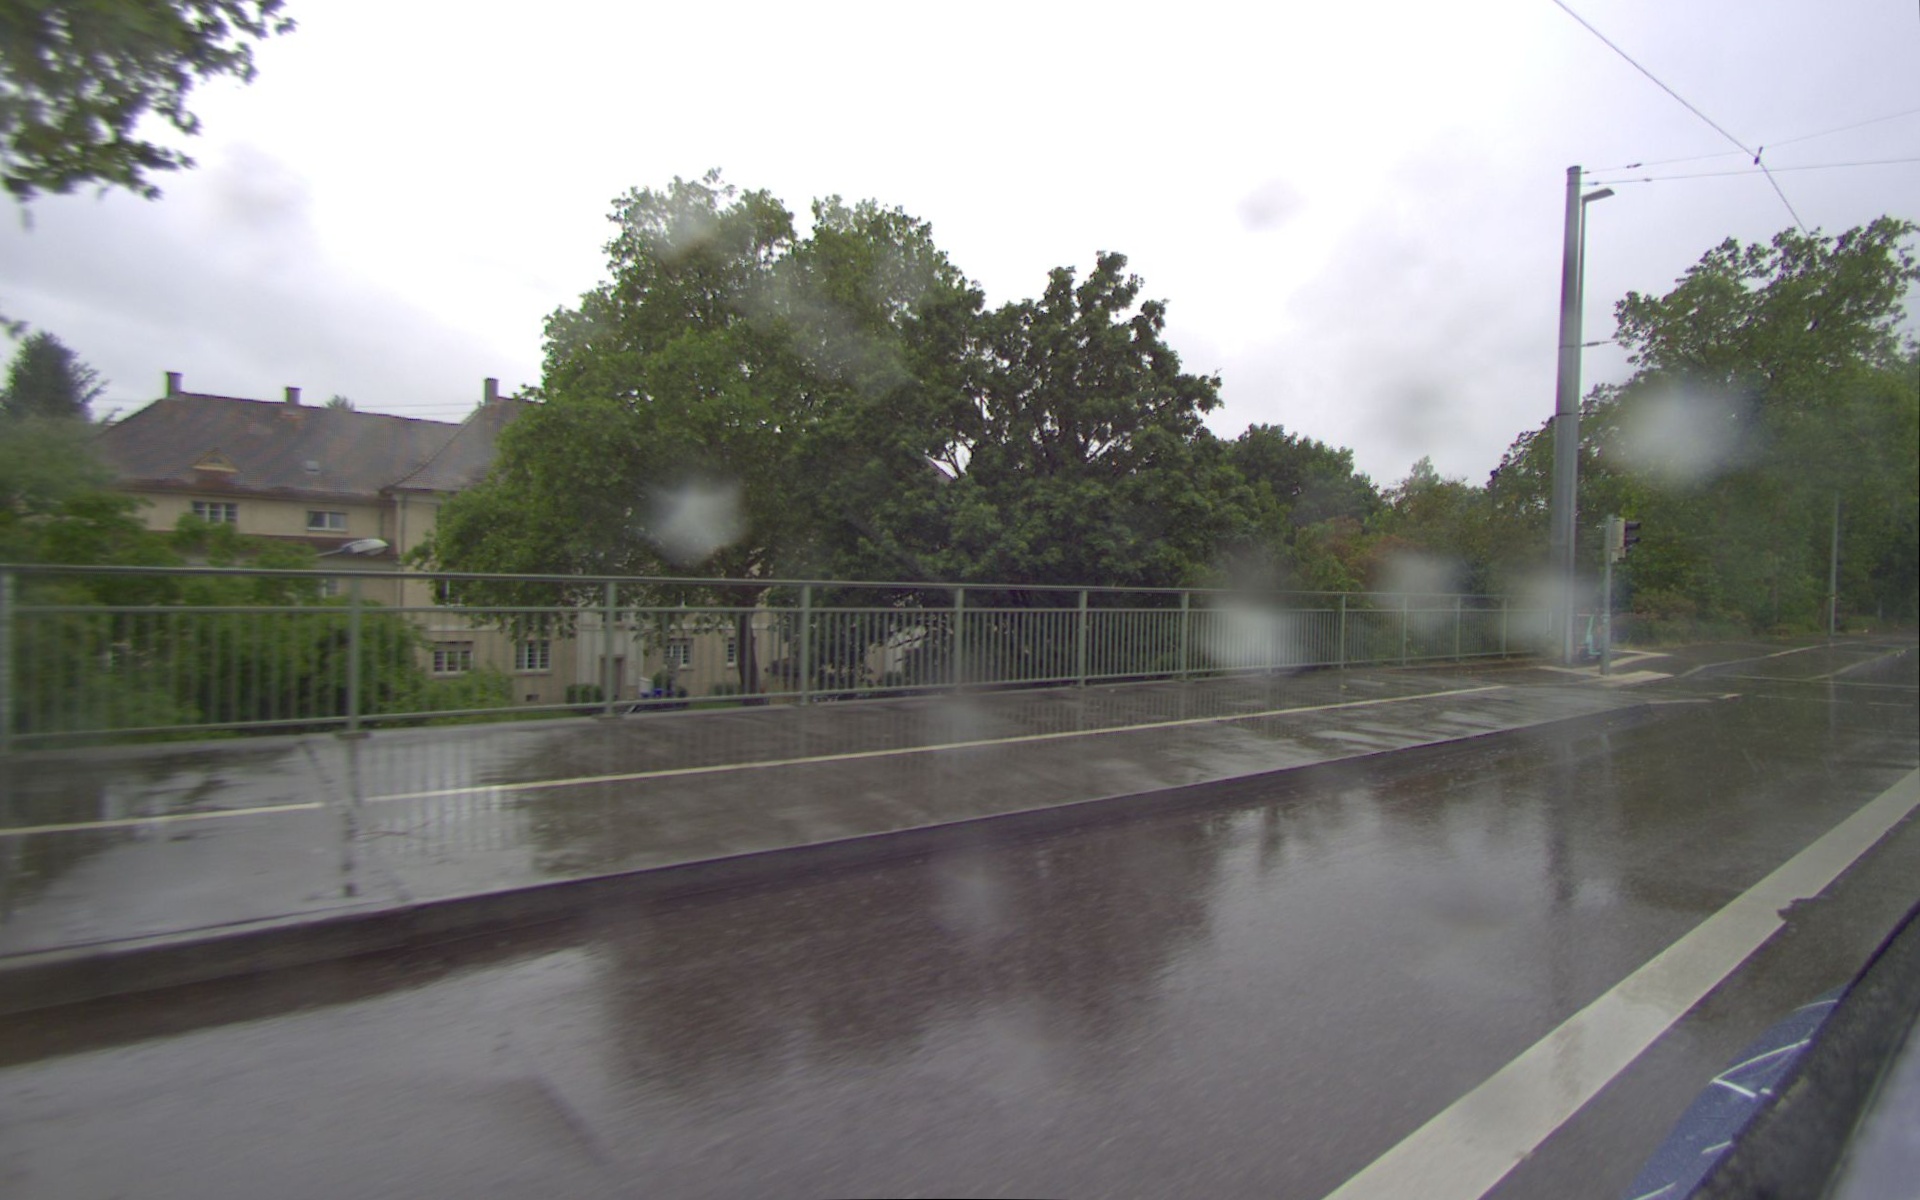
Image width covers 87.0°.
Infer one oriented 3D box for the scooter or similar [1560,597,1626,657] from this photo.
[{"bbox_3d":[14.497,0.593,23.157,1.616,1.309,0.761,0,1,-38],"label":"scooter or similar"}]
